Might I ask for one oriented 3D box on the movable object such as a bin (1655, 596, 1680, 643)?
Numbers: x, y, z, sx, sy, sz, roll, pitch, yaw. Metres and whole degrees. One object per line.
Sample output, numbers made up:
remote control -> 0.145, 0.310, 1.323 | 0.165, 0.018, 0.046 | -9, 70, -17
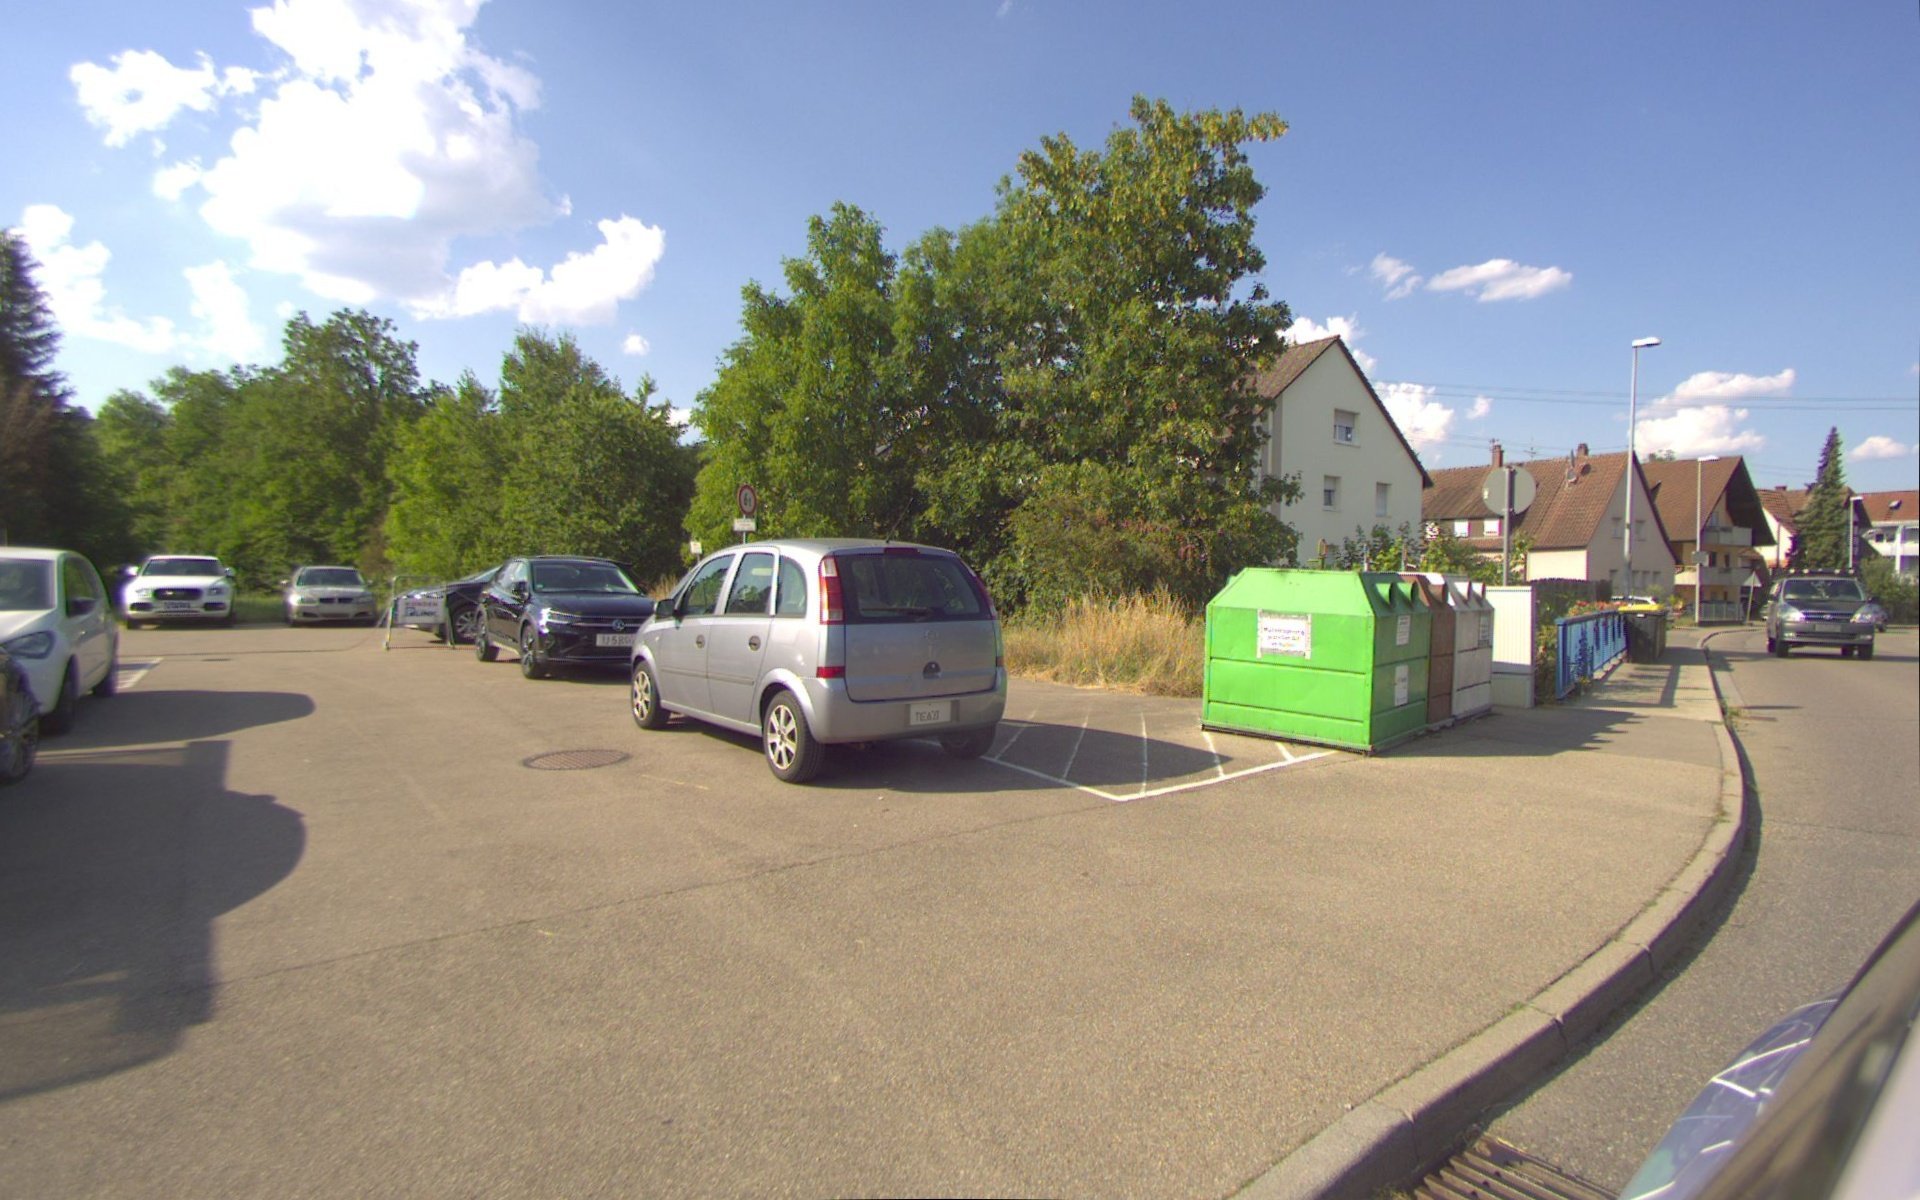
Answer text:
movable object such as a bin -> 17.767, 0.489, 25.423 | 0.477, 1.157, 0.535 | 2, 1, 36

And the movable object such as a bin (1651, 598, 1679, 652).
movable object such as a bin -> 15.654, 0.540, 22.473 | 0.477, 1.157, 0.557 | 2, 1, 36

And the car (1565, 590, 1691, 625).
car -> 30.393, 0.301, 46.162 | 1.697, 1.476, 4.480 | 0, 1, -33

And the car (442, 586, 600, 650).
car -> -11.416, 0.434, 26.355 | 3.507, 1.519, 1.683 | 0, 1, -35

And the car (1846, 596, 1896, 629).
car -> 51.660, 0.671, 57.436 | 1.967, 1.676, 3.940 | 4, 3, 42

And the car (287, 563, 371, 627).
car -> -15.289, -0.170, 24.453 | 1.595, 1.392, 4.191 | 0, 2, -34

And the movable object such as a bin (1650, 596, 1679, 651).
movable object such as a bin -> 15.280, 0.497, 21.939 | 0.477, 1.157, 0.531 | 2, 1, 36

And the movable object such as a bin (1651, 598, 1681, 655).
movable object such as a bin -> 14.607, 0.535, 20.927 | 0.477, 1.157, 0.531 | 2, 1, 36

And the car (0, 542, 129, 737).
car -> -8.378, 0.223, 8.766 | 1.469, 1.434, 3.451 | 0, 3, -34

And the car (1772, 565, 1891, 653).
car -> 22.003, 0.166, 25.721 | 1.810, 2.025, 4.760 | -1, 1, 36

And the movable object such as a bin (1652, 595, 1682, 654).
movable object such as a bin -> 14.240, 0.489, 20.382 | 0.477, 1.157, 0.531 | 2, 1, 36

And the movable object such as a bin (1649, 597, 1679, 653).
movable object such as a bin -> 14.920, 0.520, 21.443 | 0.477, 1.157, 0.531 | 2, 1, 36

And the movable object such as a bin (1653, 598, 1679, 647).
movable object such as a bin -> 17.041, 0.527, 24.431 | 0.477, 1.157, 0.531 | 2, 1, 36

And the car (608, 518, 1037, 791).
car -> -1.322, 0.252, 8.083 | 1.652, 1.623, 3.950 | -1, 2, -38

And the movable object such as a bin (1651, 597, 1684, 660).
movable object such as a bin -> 13.572, 0.534, 19.411 | 0.477, 1.157, 0.531 | 2, 1, 36

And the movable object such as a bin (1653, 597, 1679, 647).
movable object such as a bin -> 16.702, 0.511, 23.950 | 0.477, 1.157, 0.531 | 2, 1, 36

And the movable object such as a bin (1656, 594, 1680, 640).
movable object such as a bin -> 18.406, 0.438, 26.324 | 0.477, 1.157, 0.531 | 2, 1, 36

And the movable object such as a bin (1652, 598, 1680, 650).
movable object such as a bin -> 16.024, 0.537, 22.975 | 0.477, 1.157, 0.531 | 2, 1, 36

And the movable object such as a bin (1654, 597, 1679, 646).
movable object such as a bin -> 17.416, 0.524, 24.934 | 0.477, 1.157, 0.531 | 2, 1, 36

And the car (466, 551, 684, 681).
car -> -5.263, 0.107, 13.528 | 1.652, 1.466, 3.950 | -1, 2, -38

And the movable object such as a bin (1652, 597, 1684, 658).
movable object such as a bin -> 13.898, 0.526, 19.861 | 0.477, 1.157, 0.531 | 2, 1, 36

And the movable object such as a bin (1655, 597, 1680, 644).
movable object such as a bin -> 18.091, 0.518, 25.878 | 0.477, 1.157, 0.531 | 2, 1, 36

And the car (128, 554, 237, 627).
car -> -17.798, -0.265, 23.317 | 1.702, 1.530, 4.191 | 0, 2, -34

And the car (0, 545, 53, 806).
car -> -5.692, 0.456, 4.724 | 1.594, 1.434, 4.081 | 0, 3, -34

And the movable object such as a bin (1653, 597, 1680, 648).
movable object such as a bin -> 16.355, 0.515, 23.435 | 0.477, 1.157, 0.531 | 2, 1, 36

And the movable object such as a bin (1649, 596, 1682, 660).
movable object such as a bin -> 13.225, 0.508, 18.971 | 0.477, 1.157, 0.531 | 2, 1, 36

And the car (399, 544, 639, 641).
car -> -8.348, -0.158, 19.329 | 3.883, 1.673, 1.680 | 0, 2, -41
